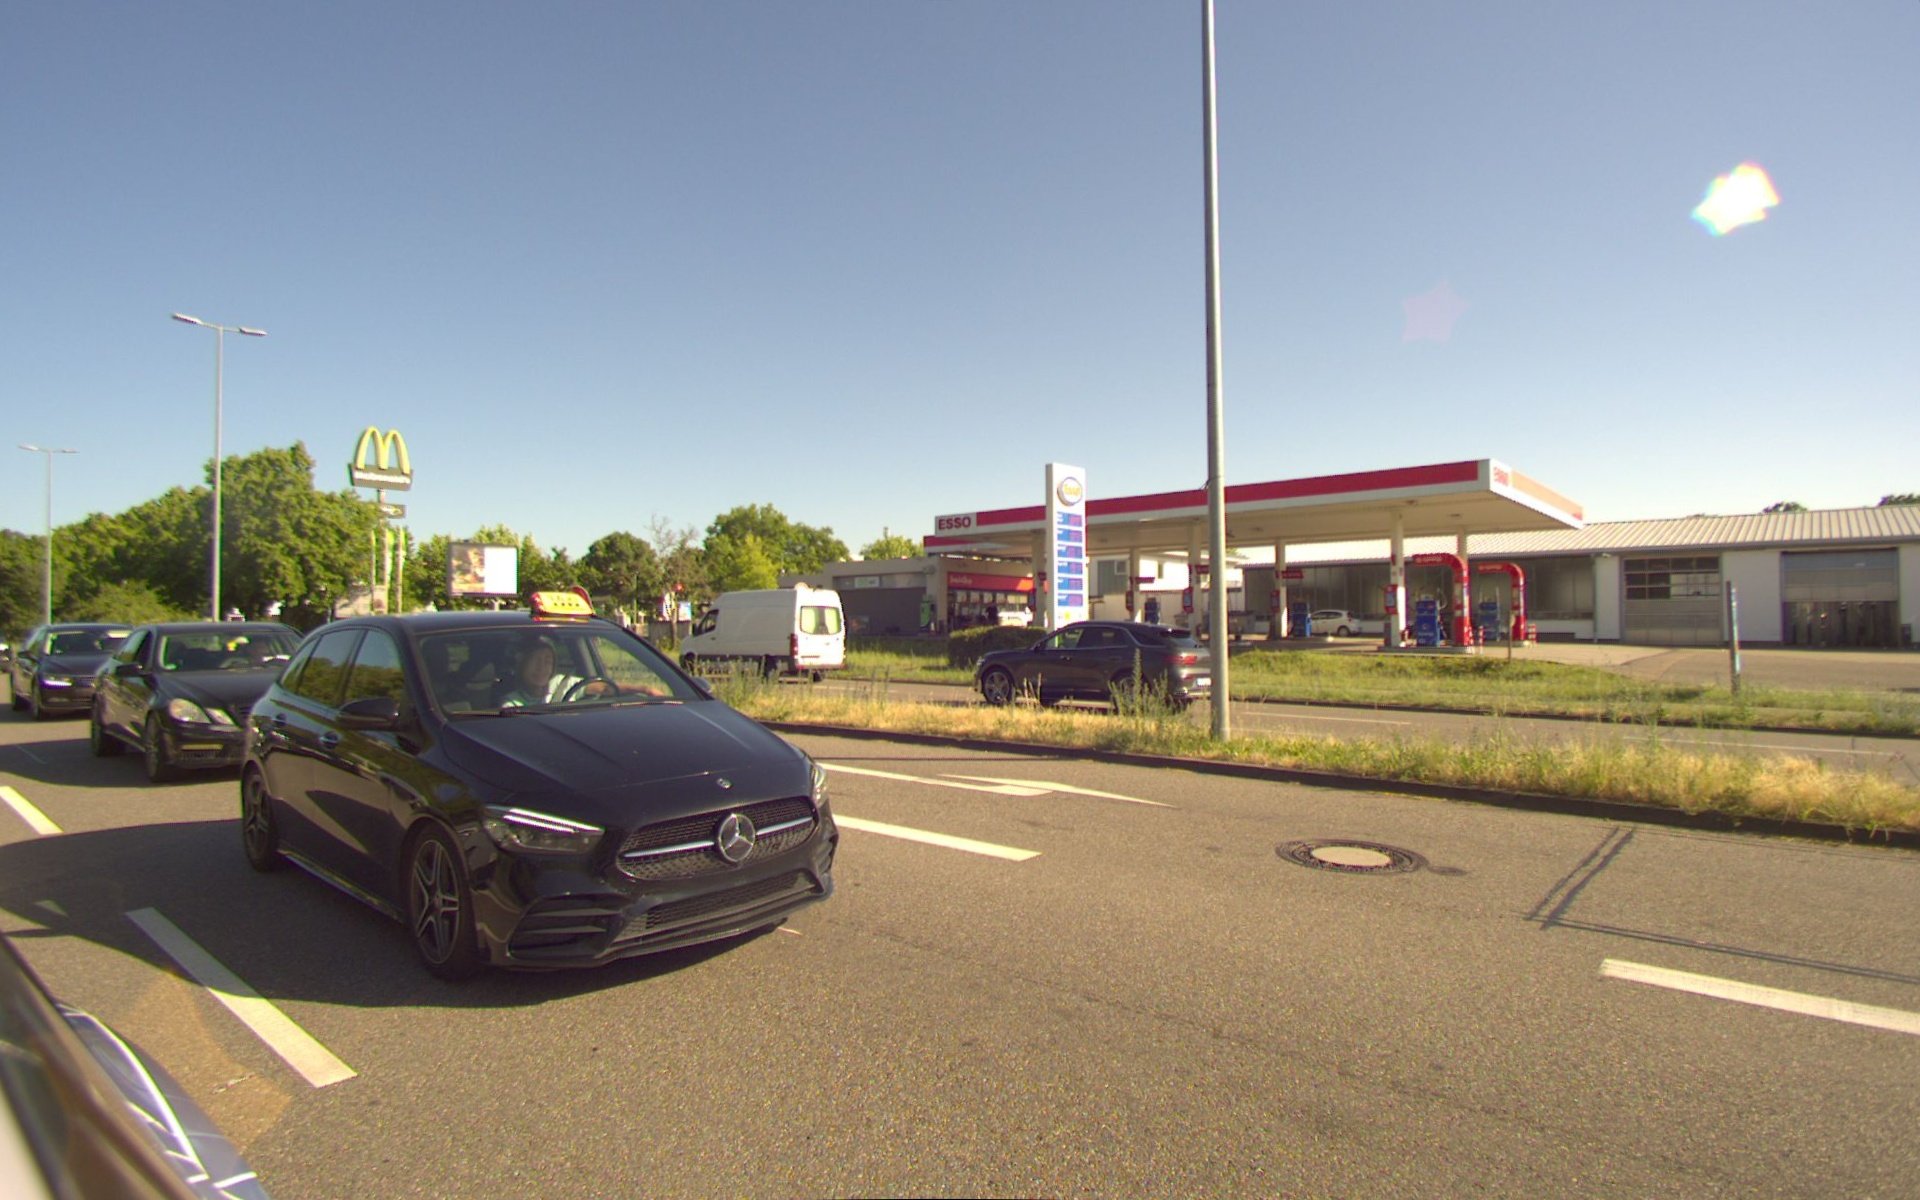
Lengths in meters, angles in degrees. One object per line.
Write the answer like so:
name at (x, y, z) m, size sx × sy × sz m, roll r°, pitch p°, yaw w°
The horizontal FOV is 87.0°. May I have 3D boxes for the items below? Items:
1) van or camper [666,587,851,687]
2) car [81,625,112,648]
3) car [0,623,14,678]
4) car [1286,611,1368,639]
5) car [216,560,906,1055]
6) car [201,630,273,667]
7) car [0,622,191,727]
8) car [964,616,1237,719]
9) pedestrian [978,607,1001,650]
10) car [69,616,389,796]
van or camper at (-5.987, 1.089, 29.574) m, size 5.952 × 2.671 × 1.973 m, roll -1°, pitch -4°, yaw 40°
car at (-81.581, 3.392, 95.605) m, size 1.970 × 2.029 × 4.003 m, roll -1°, pitch 0°, yaw -44°
car at (-30.071, 1.527, 30.519) m, size 4.401 × 1.600 × 1.838 m, roll -2°, pitch -2°, yaw 41°
car at (19.863, 1.361, 54.856) m, size 3.844 × 1.450 × 1.730 m, roll -2°, pitch -2°, yaw 39°
car at (-2.399, 0.742, 5.441) m, size 4.187 × 1.638 × 1.780 m, roll -2°, pitch -2°, yaw 42°
car at (-35.830, 2.380, 50.119) m, size 4.433 × 1.703 × 1.860 m, roll -2°, pitch -2°, yaw 41°
car at (-14.413, 1.135, 16.762) m, size 4.401 × 1.492 × 1.838 m, roll -2°, pitch -2°, yaw 41°
car at (2.482, 1.191, 18.529) m, size 4.609 × 1.666 × 1.973 m, roll -2°, pitch -4°, yaw 40°
pedestrian at (1.401, 1.356, 48.584) m, size 0.840 × 2.029 × 0.694 m, roll -2°, pitch -2°, yaw 41°
car at (-7.931, 0.961, 10.817) m, size 4.401 × 1.535 × 1.838 m, roll -2°, pitch -2°, yaw 41°
